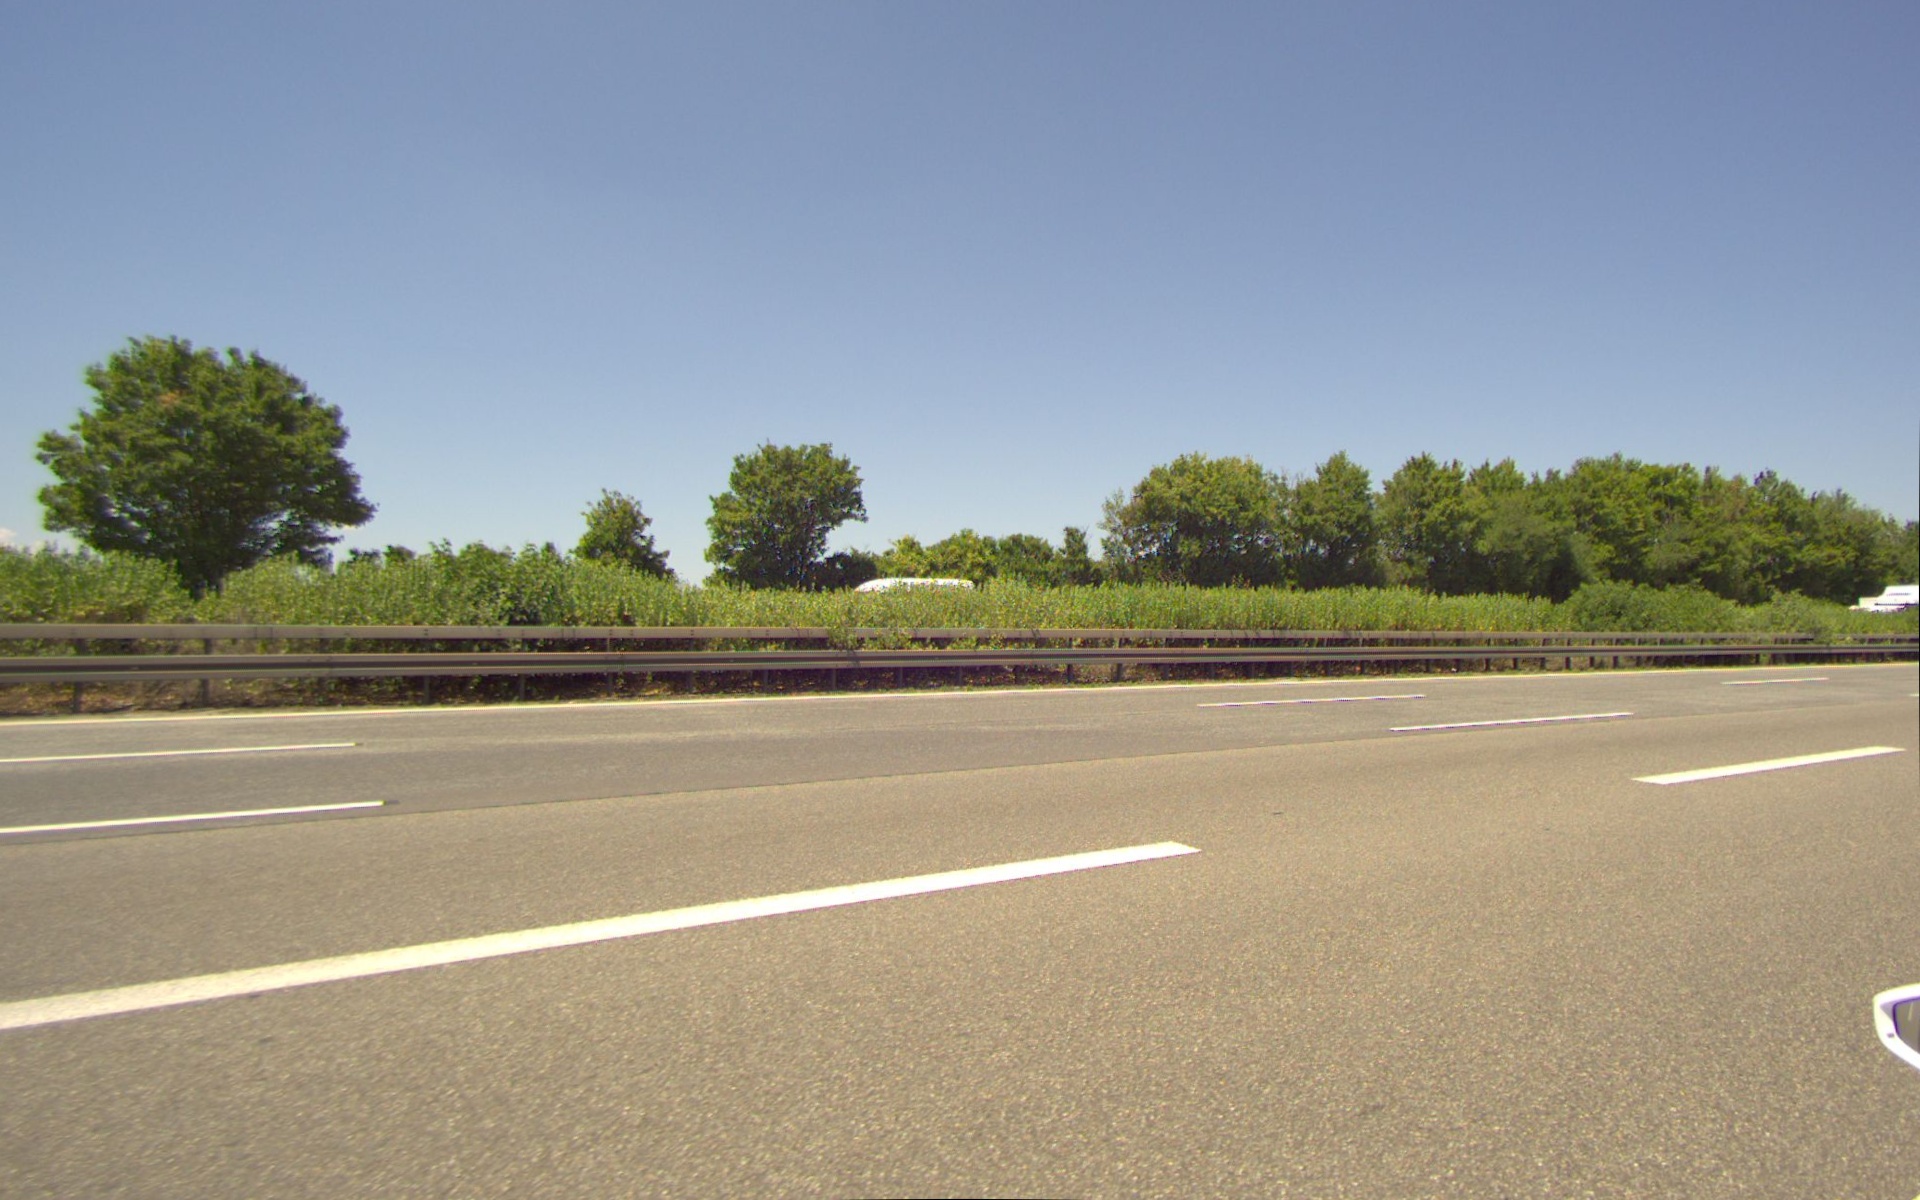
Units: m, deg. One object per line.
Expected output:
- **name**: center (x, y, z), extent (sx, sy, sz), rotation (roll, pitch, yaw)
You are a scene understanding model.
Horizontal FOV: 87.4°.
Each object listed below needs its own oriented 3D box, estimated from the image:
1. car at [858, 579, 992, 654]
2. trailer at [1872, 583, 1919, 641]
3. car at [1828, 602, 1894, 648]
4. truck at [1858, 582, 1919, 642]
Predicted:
- **car**: center (-1.133, 0.553, 32.887), extent (3.937, 2.335, 1.958), rotation (1, -1, -30)
- **trailer**: center (73.379, 0.960, 75.178), extent (13.755, 4.144, 3.378), rotation (1, -1, -29)
- **car**: center (55.316, 1.538, 61.676), extent (4.267, 2.682, 1.831), rotation (1, -1, -31)
- **truck**: center (67.386, 0.890, 71.834), extent (4.769, 4.144, 3.319), rotation (1, 0, -29)
